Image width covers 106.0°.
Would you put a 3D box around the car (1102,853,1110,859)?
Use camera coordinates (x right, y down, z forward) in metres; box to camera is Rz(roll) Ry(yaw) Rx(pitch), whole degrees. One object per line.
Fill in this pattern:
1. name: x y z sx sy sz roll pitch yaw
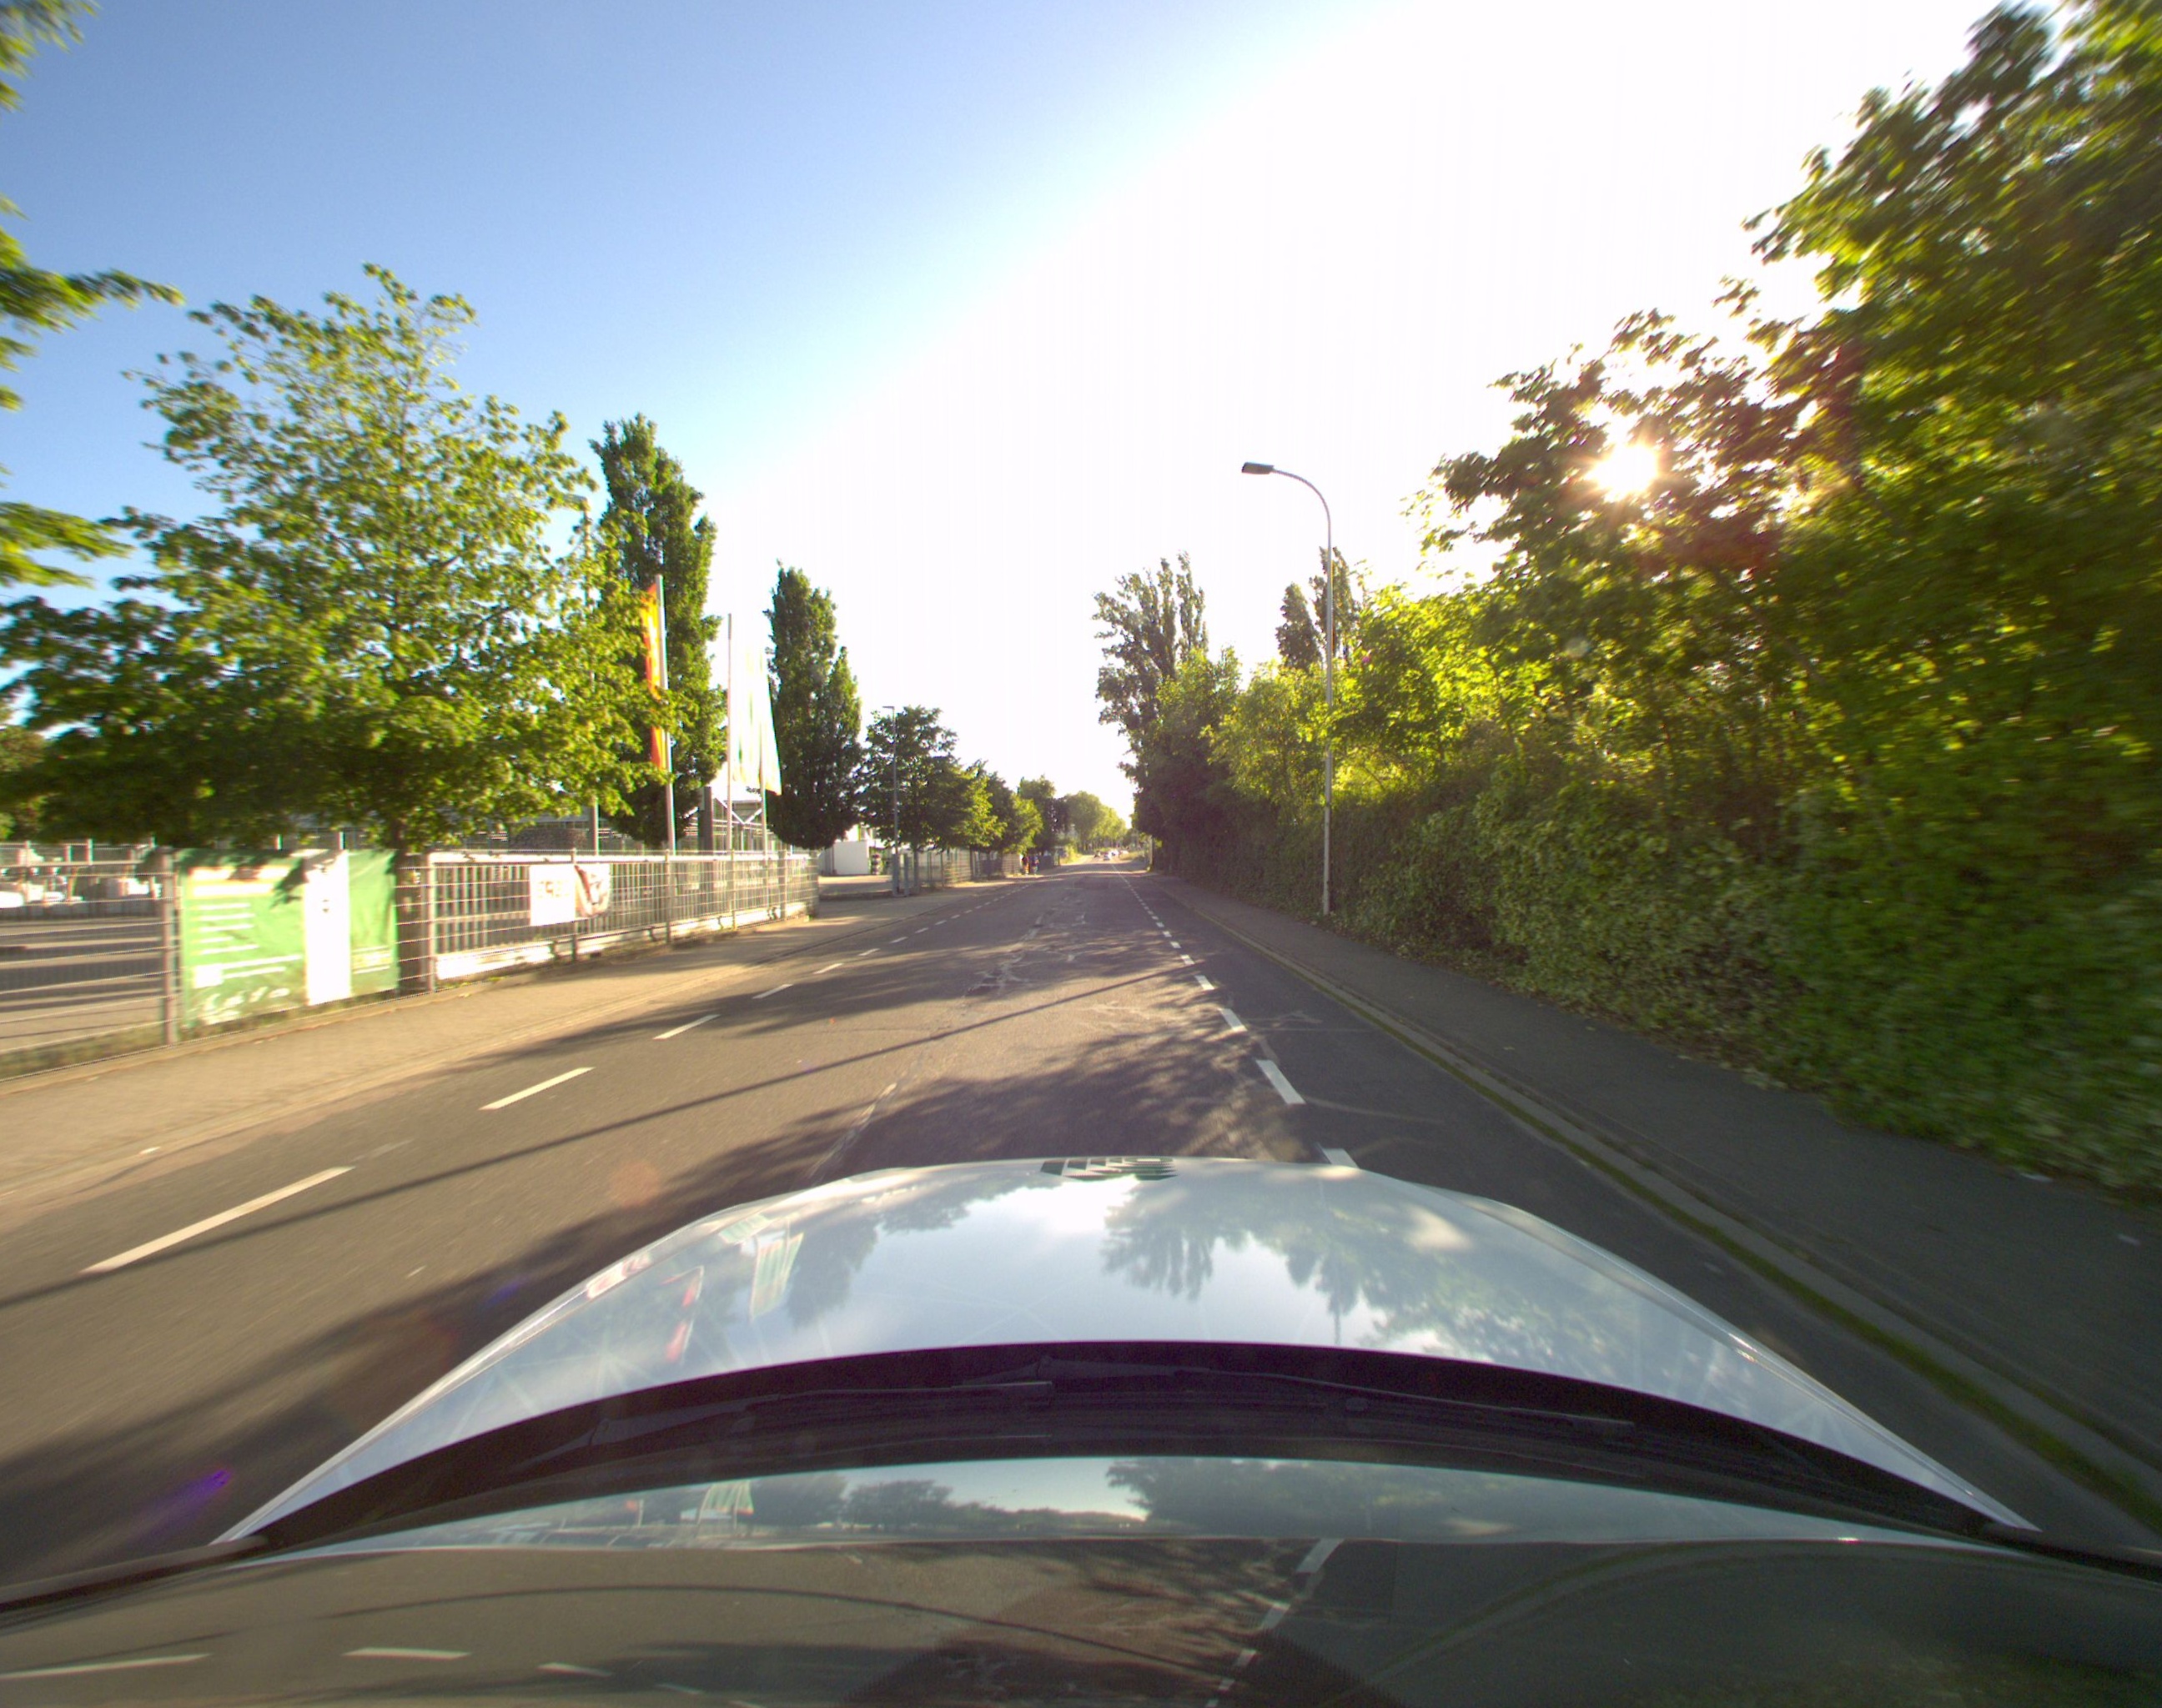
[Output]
1. car: 6.122 0.541 199.908 1.782 1.420 4.004 0 1 3

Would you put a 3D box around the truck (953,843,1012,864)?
1. truck: -17.505 -0.031 145.006 10.064 3.614 2.776 0 -1 0

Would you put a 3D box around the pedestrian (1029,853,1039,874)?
1. pedestrian: -3.968 0.802 69.311 0.718 1.720 1.058 -1 0 2

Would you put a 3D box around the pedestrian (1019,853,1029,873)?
1. pedestrian: -4.842 0.764 69.487 0.718 1.720 1.058 -1 0 2

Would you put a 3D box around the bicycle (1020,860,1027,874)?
1. bicycle: -4.886 1.095 69.179 0.468 1.148 1.870 0 0 2

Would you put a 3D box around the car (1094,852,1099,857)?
1. car: 4.805 0.042 252.768 1.735 1.526 4.110 -1 0 0

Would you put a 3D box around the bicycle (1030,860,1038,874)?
1. bicycle: -3.967 1.128 69.127 0.444 1.148 2.202 0 0 2
